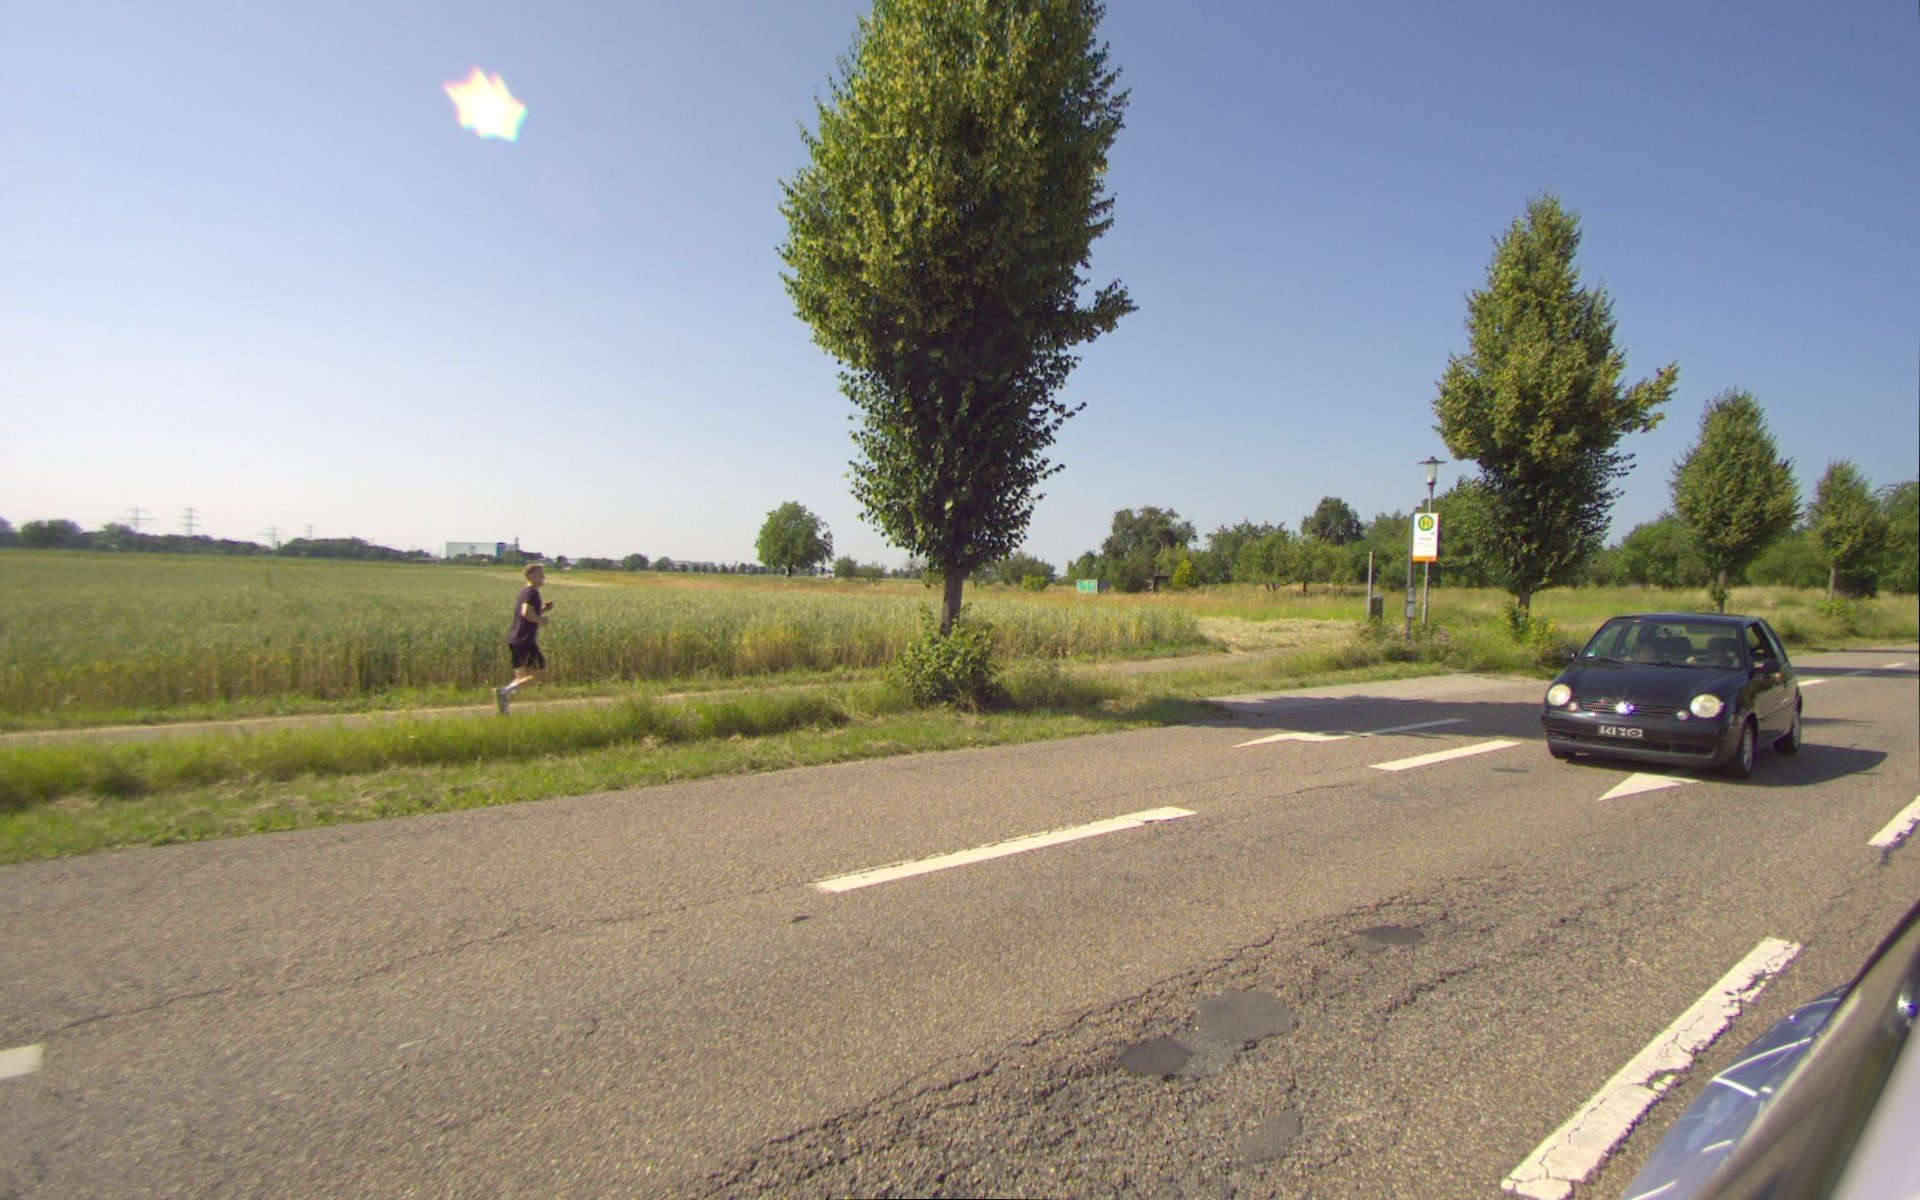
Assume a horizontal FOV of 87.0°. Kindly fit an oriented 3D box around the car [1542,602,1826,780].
[{"bbox_3d":[7.305,0.753,10.094,3.561,1.451,1.627,0,0,-43],"label":"car"}]

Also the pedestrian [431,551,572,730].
[{"bbox_3d":[-5.091,0.414,11.249,1.174,1.862,0.903,1,1,-43],"label":"pedestrian"}]
